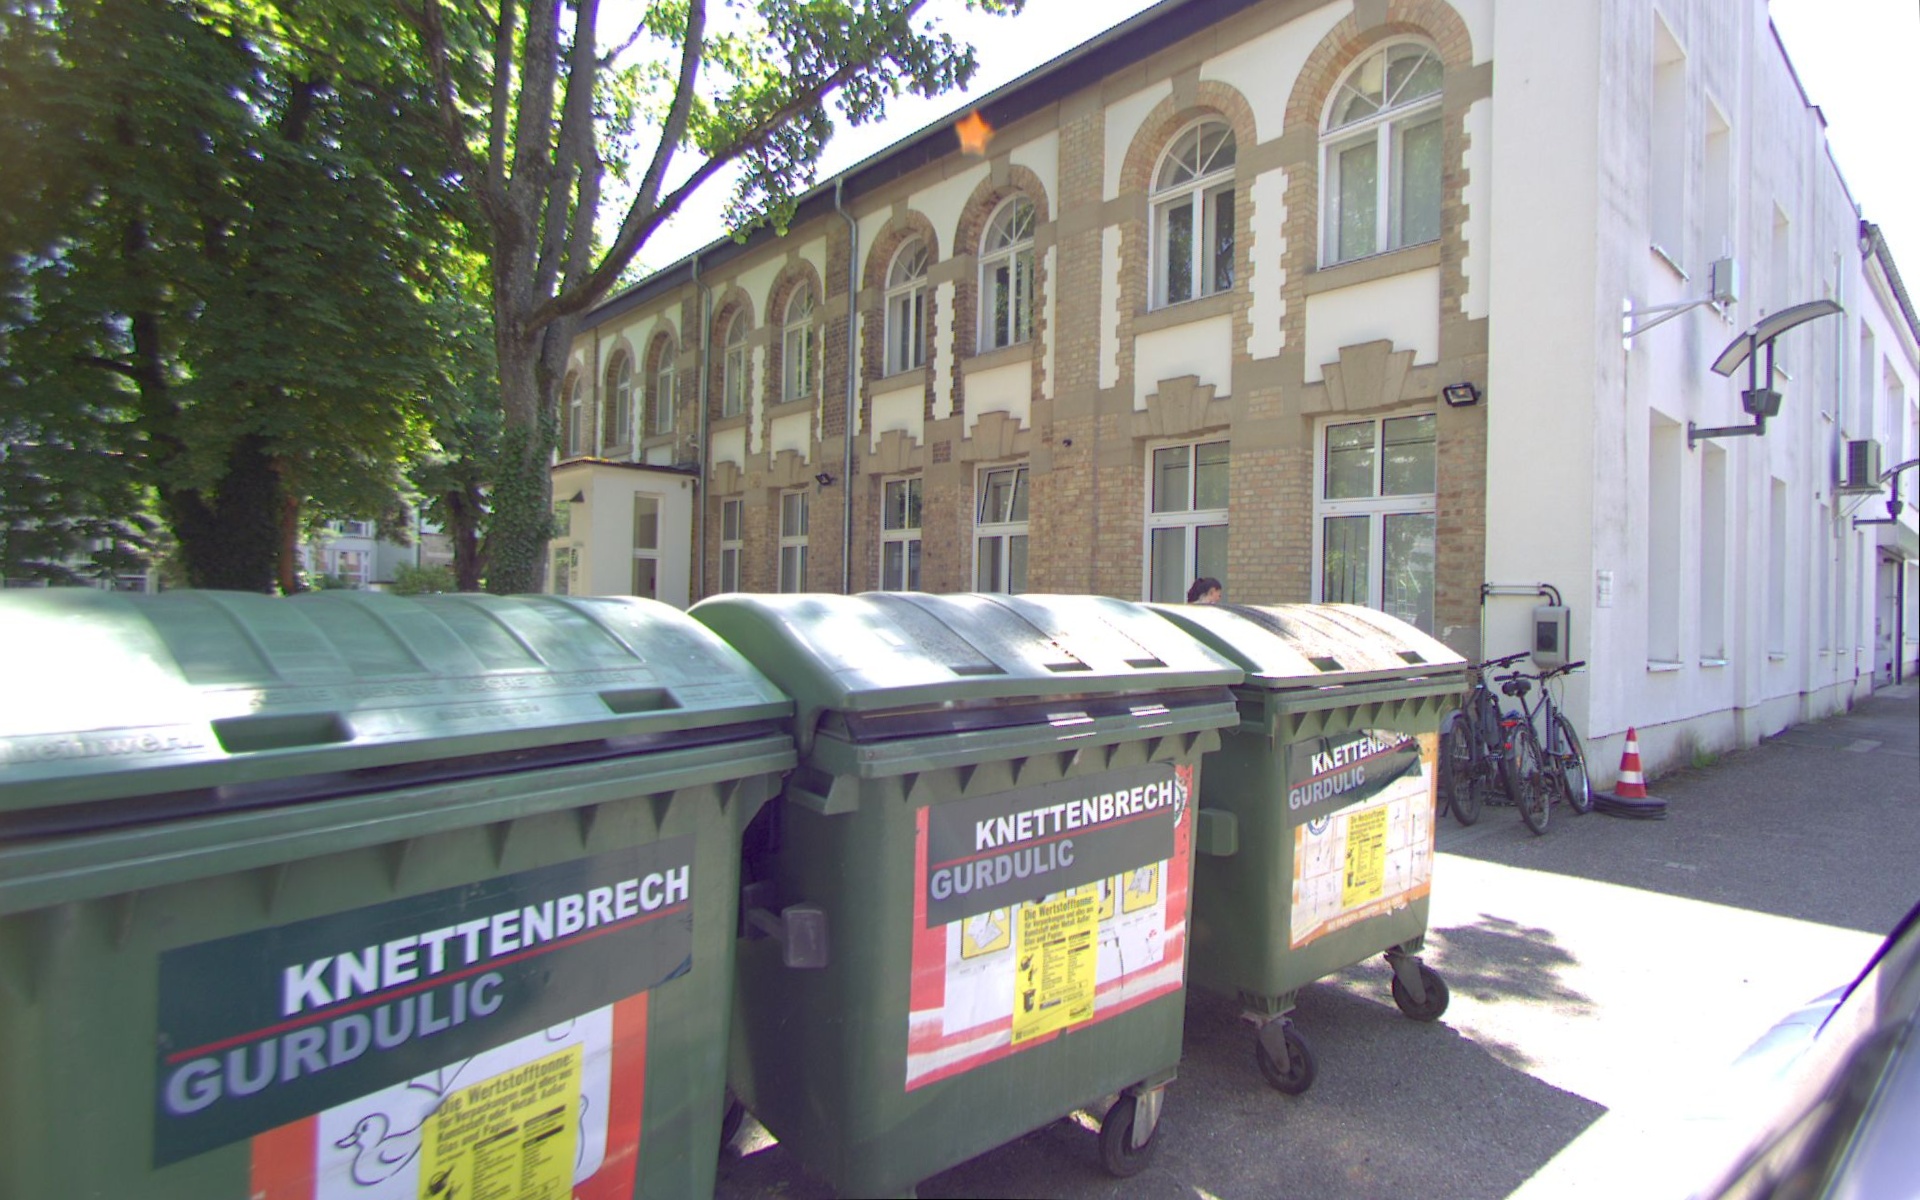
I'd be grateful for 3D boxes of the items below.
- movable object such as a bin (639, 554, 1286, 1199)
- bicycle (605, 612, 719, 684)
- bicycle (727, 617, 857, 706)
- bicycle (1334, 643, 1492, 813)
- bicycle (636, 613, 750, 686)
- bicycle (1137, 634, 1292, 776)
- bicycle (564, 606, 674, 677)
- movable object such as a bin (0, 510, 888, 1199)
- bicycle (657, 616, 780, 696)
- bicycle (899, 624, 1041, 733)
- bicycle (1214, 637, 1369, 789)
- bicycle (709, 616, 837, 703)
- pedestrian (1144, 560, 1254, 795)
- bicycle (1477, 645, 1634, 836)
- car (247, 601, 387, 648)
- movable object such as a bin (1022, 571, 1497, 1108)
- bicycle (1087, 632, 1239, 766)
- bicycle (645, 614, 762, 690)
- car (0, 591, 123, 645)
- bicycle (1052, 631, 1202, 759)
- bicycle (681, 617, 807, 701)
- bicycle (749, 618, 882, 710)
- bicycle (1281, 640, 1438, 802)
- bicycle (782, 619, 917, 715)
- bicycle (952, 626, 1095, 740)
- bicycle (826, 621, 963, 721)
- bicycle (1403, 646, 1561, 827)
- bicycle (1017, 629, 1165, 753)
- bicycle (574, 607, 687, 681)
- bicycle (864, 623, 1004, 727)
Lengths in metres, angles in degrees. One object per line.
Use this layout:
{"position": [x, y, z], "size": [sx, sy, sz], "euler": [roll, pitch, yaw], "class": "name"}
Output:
{"position": [0.018, 0.648, 2.707], "size": [1.353, 1.476, 1.077], "euler": [1, 0, -41], "class": "movable object such as a bin"}
{"position": [-4.906, 0.771, 16.743], "size": [1.795, 1.115, 0.405], "euler": [0, 0, -42], "class": "bicycle"}
{"position": [-2.240, 0.802, 13.679], "size": [1.795, 1.115, 0.405], "euler": [0, 0, -42], "class": "bicycle"}
{"position": [3.506, 0.916, 7.754], "size": [1.795, 1.115, 0.405], "euler": [0, 0, -42], "class": "bicycle"}
{"position": [-4.318, 0.780, 16.475], "size": [1.795, 1.115, 0.405], "euler": [0, 0, -42], "class": "bicycle"}
{"position": [2.321, 0.892, 9.097], "size": [1.795, 1.115, 0.405], "euler": [0, 0, -42], "class": "bicycle"}
{"position": [-5.985, 0.707, 17.848], "size": [1.795, 1.115, 0.405], "euler": [-3, 2, -42], "class": "bicycle"}
{"position": [-0.985, 0.645, 1.656], "size": [1.353, 1.476, 1.077], "euler": [1, 0, -41], "class": "movable object such as a bin"}
{"position": [-3.570, 0.800, 15.062], "size": [1.795, 1.115, 0.405], "euler": [0, 0, -42], "class": "bicycle"}
{"position": [0.146, 0.848, 11.481], "size": [1.795, 1.115, 0.405], "euler": [0, 0, -42], "class": "bicycle"}
{"position": [2.841, 0.902, 8.568], "size": [1.795, 1.115, 0.405], "euler": [0, 0, -42], "class": "bicycle"}
{"position": [-2.576, 0.795, 14.080], "size": [1.795, 1.115, 0.405], "euler": [0, 0, -42], "class": "bicycle"}
{"position": [1.901, 0.579, 8.041], "size": [0.677, 1.771, 0.552], "euler": [1, 0, -40], "class": "pedestrian"}
{"position": [4.166, 0.907, 7.022], "size": [1.795, 1.115, 0.405], "euler": [0, 0, -42], "class": "bicycle"}
{"position": [-20.309, 0.739, 32.112], "size": [1.634, 1.359, 3.505], "euler": [1, 0, 21], "class": "car"}
{"position": [1.085, 0.654, 3.642], "size": [1.353, 1.476, 1.077], "euler": [1, 0, -41], "class": "movable object such as a bin"}
{"position": [1.945, 0.884, 9.530], "size": [1.795, 1.115, 0.405], "euler": [0, 0, -42], "class": "bicycle"}
{"position": [-4.004, 0.788, 15.902], "size": [1.795, 1.115, 0.405], "euler": [0, 0, -42], "class": "bicycle"}
{"position": [-26.524, 0.471, 28.288], "size": [1.652, 1.456, 4.656], "euler": [1, 0, 19], "class": "car"}
{"position": [1.663, 0.878, 9.870], "size": [1.795, 1.115, 0.405], "euler": [0, 0, -42], "class": "bicycle"}
{"position": [-3.066, 0.810, 14.490], "size": [1.795, 1.115, 0.405], "euler": [0, 0, -42], "class": "bicycle"}
{"position": [-1.870, 0.810, 13.291], "size": [1.795, 1.115, 0.405], "euler": [0, 0, -42], "class": "bicycle"}
{"position": [3.236, 0.910, 8.102], "size": [1.795, 1.115, 0.405], "euler": [0, 0, -42], "class": "bicycle"}
{"position": [-1.375, 0.819, 12.868], "size": [1.795, 1.115, 0.405], "euler": [0, 0, -42], "class": "bicycle"}
{"position": [0.719, 0.858, 10.954], "size": [1.795, 1.115, 0.405], "euler": [0, 0, -42], "class": "bicycle"}
{"position": [-0.772, 0.830, 12.384], "size": [1.795, 1.115, 0.405], "euler": [0, 0, -42], "class": "bicycle"}
{"position": [3.821, 0.923, 7.343], "size": [1.795, 1.115, 0.405], "euler": [0, 0, -42], "class": "bicycle"}
{"position": [1.353, 0.872, 10.198], "size": [1.795, 1.115, 0.405], "euler": [0, 0, -42], "class": "bicycle"}
{"position": [-5.577, 0.716, 17.219], "size": [1.795, 1.115, 0.405], "euler": [-3, 2, -42], "class": "bicycle"}
{"position": [-0.275, 0.840, 11.874], "size": [1.795, 1.115, 0.405], "euler": [0, 0, -42], "class": "bicycle"}
